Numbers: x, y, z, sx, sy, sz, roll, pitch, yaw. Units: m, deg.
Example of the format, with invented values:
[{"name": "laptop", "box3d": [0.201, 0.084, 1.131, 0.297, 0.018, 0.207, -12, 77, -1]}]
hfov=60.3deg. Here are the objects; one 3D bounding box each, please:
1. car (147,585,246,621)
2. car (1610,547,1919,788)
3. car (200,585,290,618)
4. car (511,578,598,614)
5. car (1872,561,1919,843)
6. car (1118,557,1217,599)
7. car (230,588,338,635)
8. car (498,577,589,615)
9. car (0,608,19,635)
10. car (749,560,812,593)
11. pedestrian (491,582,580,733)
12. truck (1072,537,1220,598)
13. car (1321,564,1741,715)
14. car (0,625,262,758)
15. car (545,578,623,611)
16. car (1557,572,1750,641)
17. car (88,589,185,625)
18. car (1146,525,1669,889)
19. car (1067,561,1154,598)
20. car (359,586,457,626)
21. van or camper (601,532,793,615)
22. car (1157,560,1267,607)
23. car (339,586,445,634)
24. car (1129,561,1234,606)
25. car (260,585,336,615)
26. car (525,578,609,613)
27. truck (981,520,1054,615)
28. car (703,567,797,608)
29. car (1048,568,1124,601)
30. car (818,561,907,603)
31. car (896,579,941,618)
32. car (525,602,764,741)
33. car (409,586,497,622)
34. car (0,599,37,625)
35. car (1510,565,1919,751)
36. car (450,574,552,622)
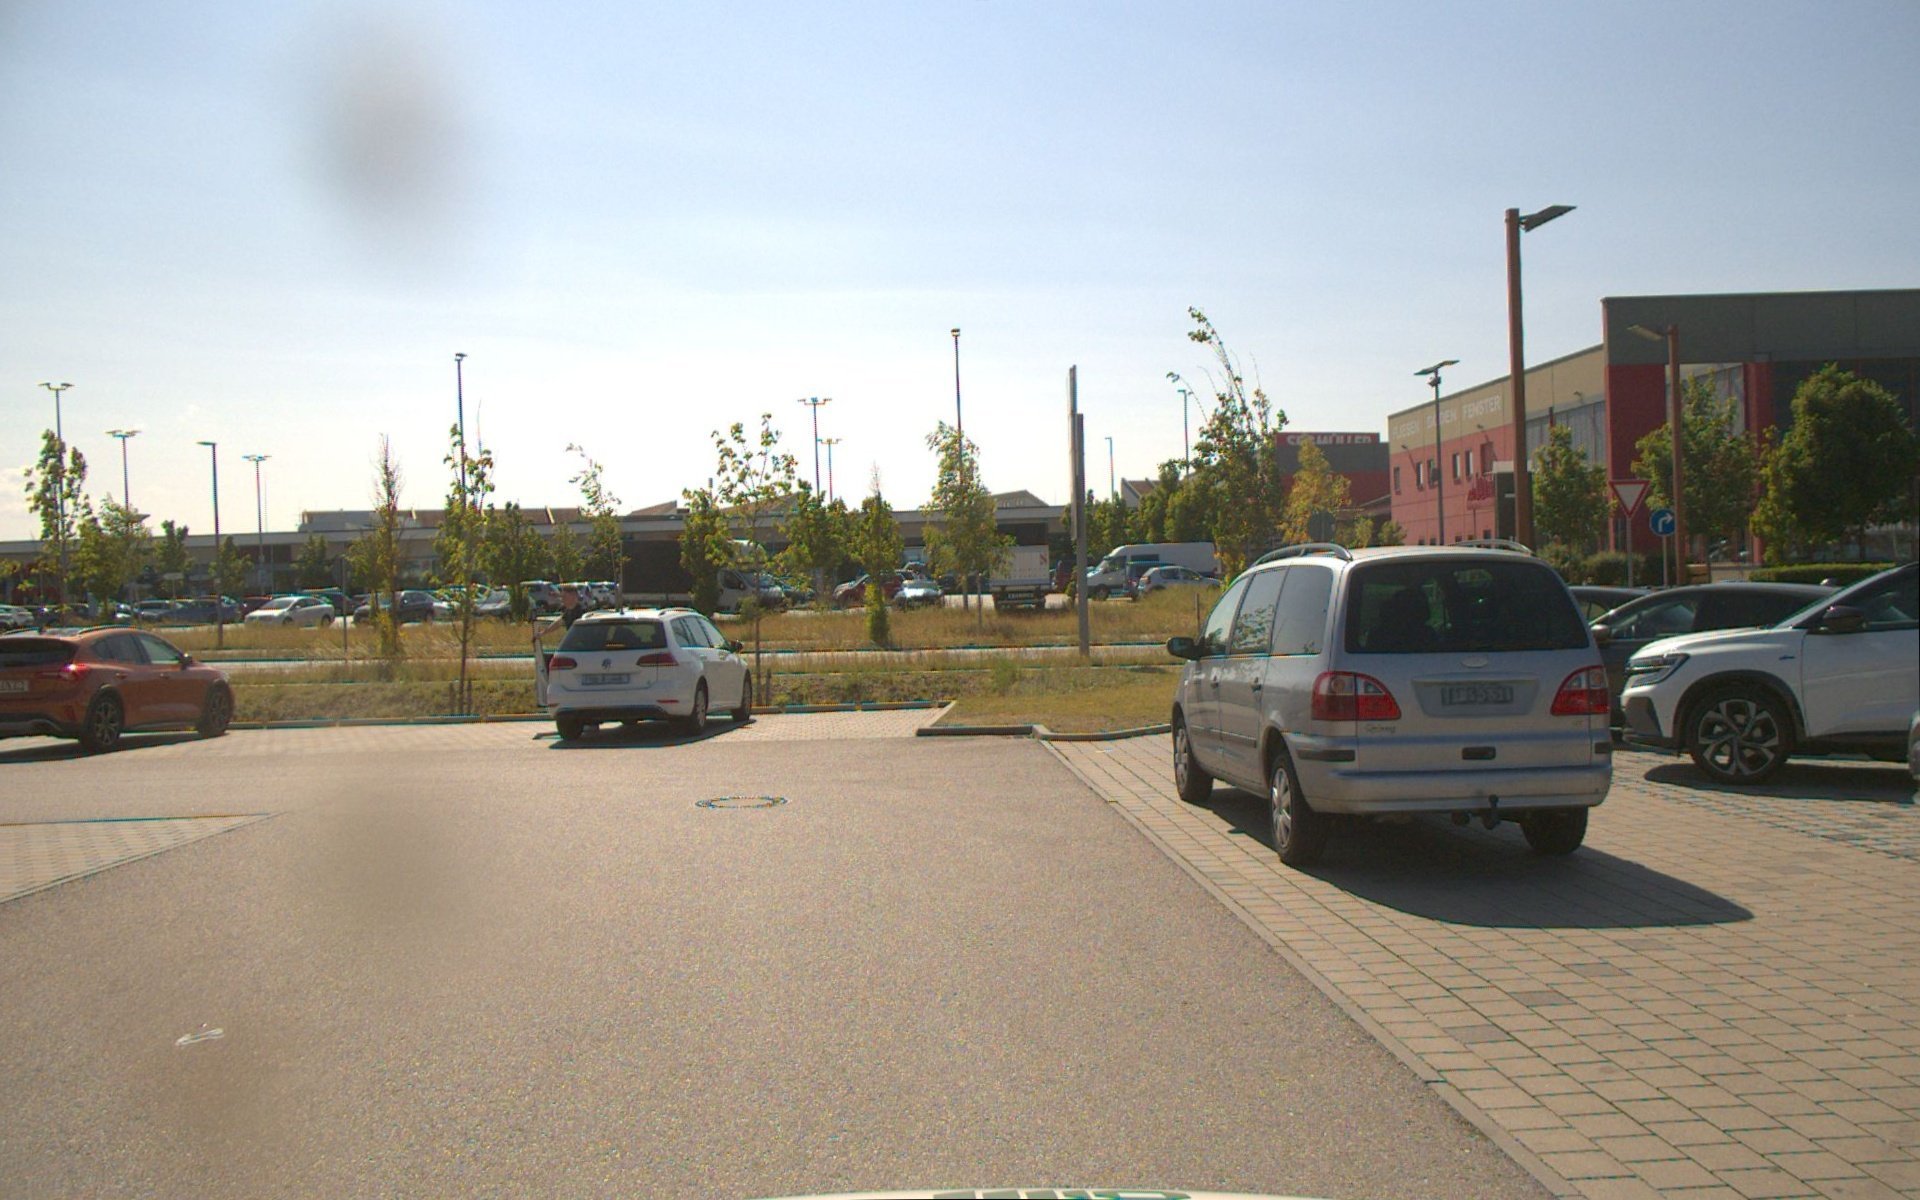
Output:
[{"name": "car", "box3d": [-41.670, 0.143, 90.312, 4.468, 1.888, 1.954, -1, 0, -4]}, {"name": "car", "box3d": [7.213, 0.452, 12.409, 4.114, 1.683, 1.972, -1, 0, 30]}, {"name": "car", "box3d": [-42.440, 0.084, 98.244, 4.468, 1.888, 1.954, -1, 0, -4]}, {"name": "car", "box3d": [-22.365, -0.251, 91.355, 4.304, 1.888, 1.954, -1, 0, -4]}, {"name": "car", "box3d": [7.580, 0.518, 8.669, 4.746, 1.553, 1.969, -1, 1, 35]}, {"name": "car", "box3d": [9.794, -1.024, 78.284, 4.304, 1.888, 1.954, -1, 0, -4]}, {"name": "car", "box3d": [-28.956, 0.457, 70.981, 1.952, 1.888, 4.288, -1, 1, 19]}, {"name": "car", "box3d": [-21.750, -0.218, 86.488, 4.304, 1.888, 1.954, -1, 0, -4]}, {"name": "car", "box3d": [-59.210, 1.342, 100.239, 3.401, 1.579, 1.663, -1, 0, -9]}, {"name": "car", "box3d": [-11.765, -1.554, 108.691, 3.906, 2.049, 2.000, -1, 0, -1]}, {"name": "pedestrian", "box3d": [-5.396, 0.718, 21.025, 0.978, 1.841, 0.721, -1, -1, -23]}, {"name": "truck", "box3d": [9.066, -1.583, 80.909, 6.896, 2.863, 1.954, -1, 0, -4]}, {"name": "car", "box3d": [6.633, 0.412, 19.448, 4.253, 1.552, 1.965, -1, 1, 41]}, {"name": "car", "box3d": [-10.982, 1.104, 21.350, 1.789, 1.495, 4.355, -2, -1, 4]}, {"name": "car", "box3d": [-22.620, -0.325, 99.671, 4.304, 1.888, 1.954, -1, 0, -4]}, {"name": "car", "box3d": [16.542, 0.146, 39.557, 3.905, 1.522, 1.676, -1, 0, 0]}, {"name": "car", "box3d": [-50.046, 0.410, 100.612, 4.824, 2.049, 2.078, -1, 0, -8]}, {"name": "car", "box3d": [2.542, 0.524, 10.717, 1.791, 1.779, 4.679, -2, 0, -4]}, {"name": "car", "box3d": [7.974, -1.080, 87.939, 4.304, 1.888, 1.954, -1, 0, -4]}, {"name": "car", "box3d": [-27.857, 0.302, 83.557, 4.304, 1.888, 1.954, -1, 0, -4]}, {"name": "van or camper", "box3d": [-10.699, -1.027, 66.918, 7.878, 3.155, 2.415, -1, 0, 30]}, {"name": "car", "box3d": [10.730, -0.715, 70.703, 4.304, 1.888, 1.954, -1, 0, -4]}, {"name": "car", "box3d": [-23.969, 0.400, 69.969, 1.909, 1.888, 4.406, -1, 1, 19]}, {"name": "car", "box3d": [9.756, -0.719, 73.121, 4.304, 1.888, 1.954, -1, 0, -4]}, {"name": "car", "box3d": [-44.328, 0.002, 110.859, 4.304, 1.888, 1.954, -1, 0, -4]}, {"name": "car", "box3d": [-22.238, -0.276, 93.749, 4.304, 1.888, 1.954, -1, 0, -4]}, {"name": "truck", "box3d": [2.273, -1.271, 66.051, 2.702, 3.541, 6.834, -1, 0, 2]}, {"name": "car", "box3d": [-11.060, -0.658, 87.056, 4.824, 2.049, 2.078, -1, 0, -8]}, {"name": "car", "box3d": [7.625, -0.934, 100.433, 4.304, 1.888, 1.954, -1, 0, -4]}, {"name": "car", "box3d": [-4.666, -0.870, 79.264, 4.169, 1.888, 1.868, -1, 0, -4]}, {"name": "car", "box3d": [-1.652, -0.072, 66.448, 1.616, 1.485, 3.967, -1, 0, 1]}, {"name": "car", "box3d": [-3.784, 0.816, 20.657, 1.789, 1.495, 4.484, -2, -1, 4]}, {"name": "car", "box3d": [-28.101, 0.222, 91.720, 4.304, 1.888, 1.954, -1, 0, -4]}, {"name": "car", "box3d": [-59.581, 0.742, 102.892, 3.401, 1.579, 1.663, -1, 0, -9]}, {"name": "car", "box3d": [7.449, 0.478, 15.312, 4.119, 1.553, 1.970, -1, 1, 33]}, {"name": "car", "box3d": [-18.967, -0.118, 68.533, 1.909, 1.888, 4.406, -1, 1, 19]}]
